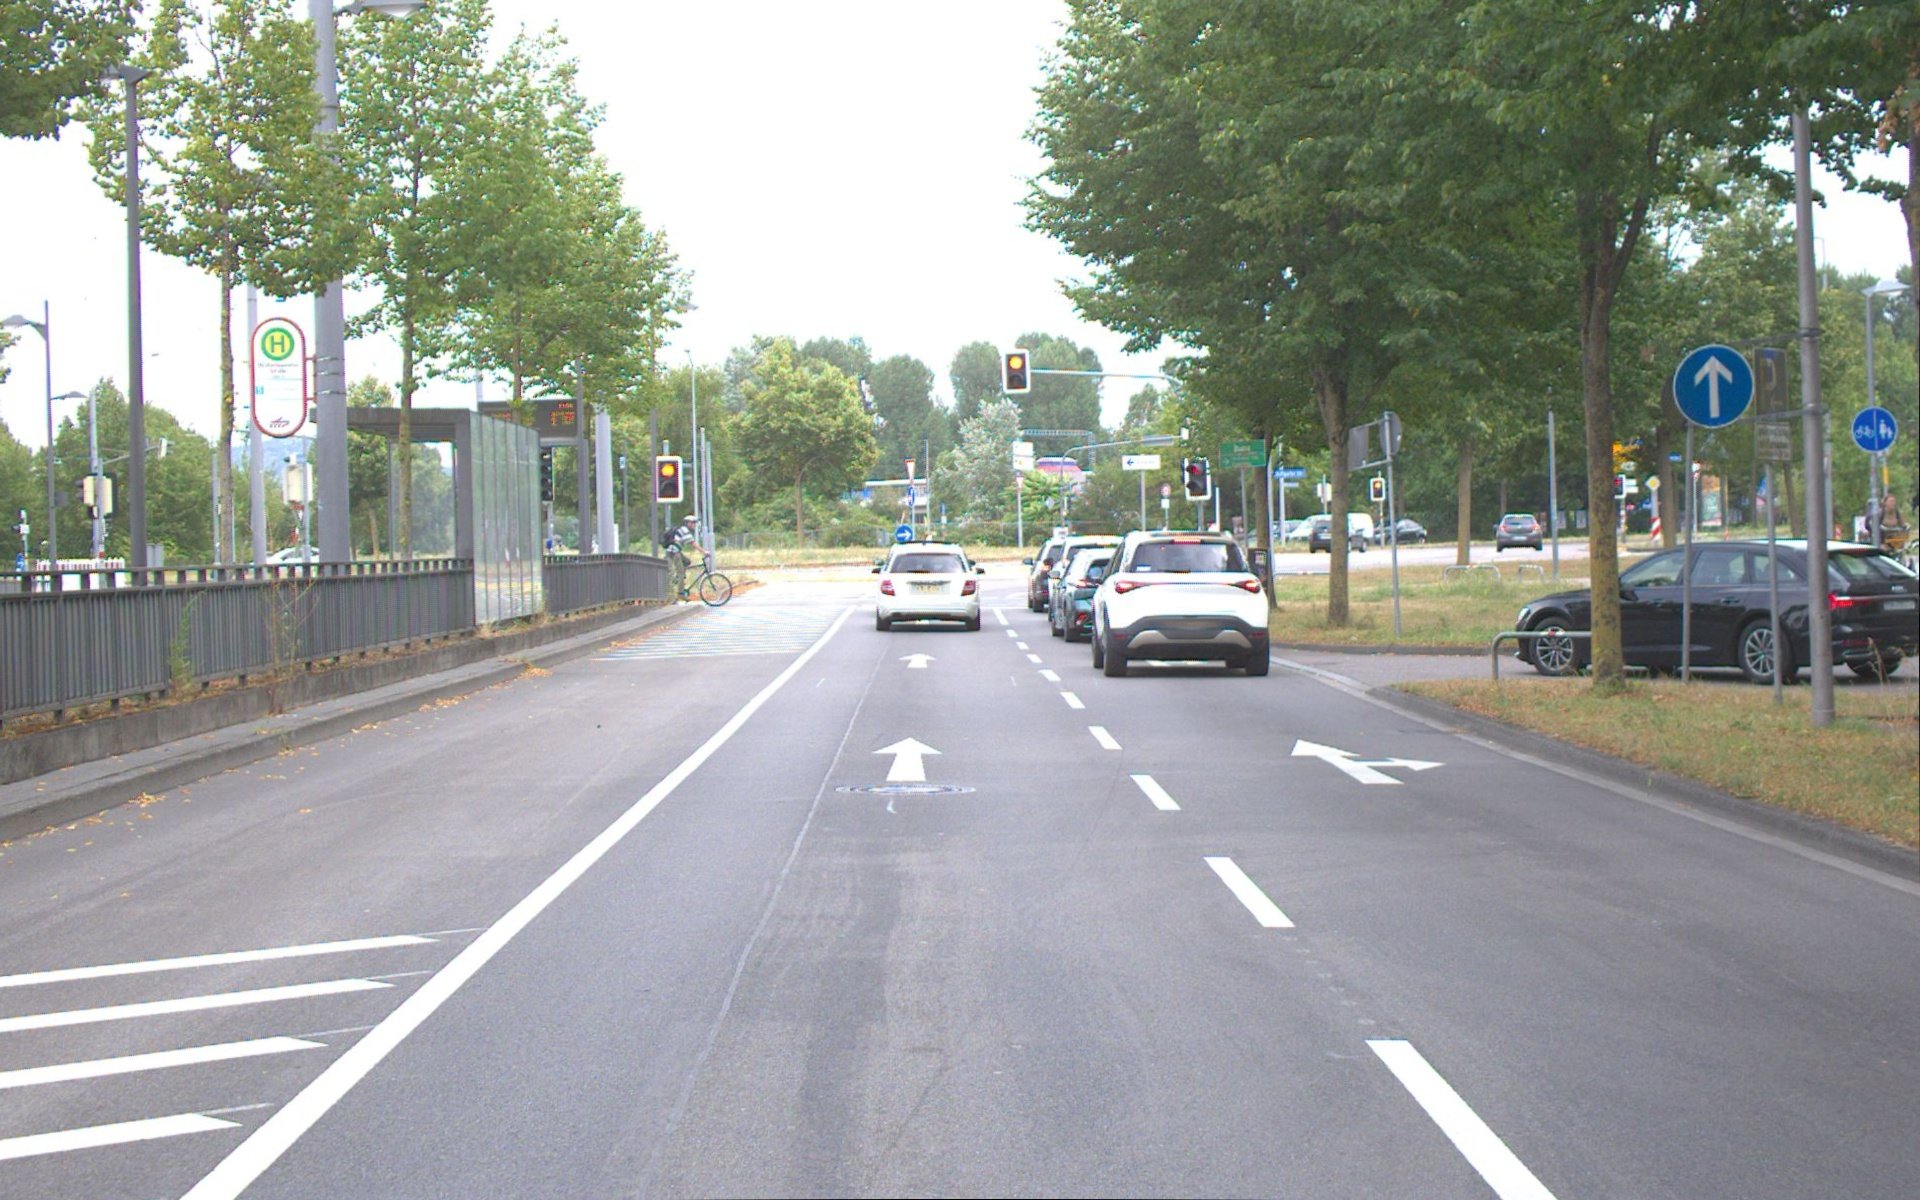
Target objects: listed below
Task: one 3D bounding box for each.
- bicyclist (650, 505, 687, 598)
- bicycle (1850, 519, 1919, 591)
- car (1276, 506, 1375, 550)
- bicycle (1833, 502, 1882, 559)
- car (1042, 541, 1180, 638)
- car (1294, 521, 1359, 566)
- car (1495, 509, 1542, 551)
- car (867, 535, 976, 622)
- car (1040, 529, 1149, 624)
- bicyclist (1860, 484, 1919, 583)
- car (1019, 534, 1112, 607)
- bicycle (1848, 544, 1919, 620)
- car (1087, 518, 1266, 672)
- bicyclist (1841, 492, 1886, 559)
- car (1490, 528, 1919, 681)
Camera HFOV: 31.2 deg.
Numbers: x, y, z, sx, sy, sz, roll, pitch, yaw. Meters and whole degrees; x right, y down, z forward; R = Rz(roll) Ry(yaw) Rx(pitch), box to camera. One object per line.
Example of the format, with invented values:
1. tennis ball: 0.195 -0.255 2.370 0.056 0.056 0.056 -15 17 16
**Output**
1. bicyclist: -6.244 -1.047 73.711 0.728 1.878 0.735 -1 9 -3
2. bicycle: 15.075 -0.743 55.857 0.673 1.139 2.007 -1 1 0
3. car: 17.631 -3.498 165.652 4.987 2.007 1.999 -3 2 -44
4. bicycle: 24.318 -1.884 93.220 0.705 1.500 2.008 -1 1 -2
5. car: 2.339 -0.196 54.127 1.787 1.427 4.311 -1 1 -2
6. car: 15.219 -2.339 142.844 1.993 1.785 4.001 1 1 -4
7. car: 22.376 -2.820 137.726 1.784 1.630 4.400 -1 1 10
8. car: -0.698 -0.393 58.916 1.773 1.443 3.911 0 1 -2
9. car: 2.406 -0.445 62.200 1.787 1.619 3.911 -1 1 0
10. bicyclist: 15.092 -1.075 55.705 0.724 1.577 0.990 -1 1 -1
11. car: 2.120 -0.620 70.025 1.624 1.443 3.911 0 1 -2
12. bicycle: 12.185 -0.245 44.579 0.629 0.952 2.108 -1 1 -5
13. car: 2.450 -0.094 39.719 1.779 1.651 4.023 -1 1 0
14. bicyclist: 24.389 -2.018 92.832 0.866 1.783 1.175 -1 1 -1
15. car: 8.015 0.026 36.250 1.941 1.470 4.870 -2 1 -35
